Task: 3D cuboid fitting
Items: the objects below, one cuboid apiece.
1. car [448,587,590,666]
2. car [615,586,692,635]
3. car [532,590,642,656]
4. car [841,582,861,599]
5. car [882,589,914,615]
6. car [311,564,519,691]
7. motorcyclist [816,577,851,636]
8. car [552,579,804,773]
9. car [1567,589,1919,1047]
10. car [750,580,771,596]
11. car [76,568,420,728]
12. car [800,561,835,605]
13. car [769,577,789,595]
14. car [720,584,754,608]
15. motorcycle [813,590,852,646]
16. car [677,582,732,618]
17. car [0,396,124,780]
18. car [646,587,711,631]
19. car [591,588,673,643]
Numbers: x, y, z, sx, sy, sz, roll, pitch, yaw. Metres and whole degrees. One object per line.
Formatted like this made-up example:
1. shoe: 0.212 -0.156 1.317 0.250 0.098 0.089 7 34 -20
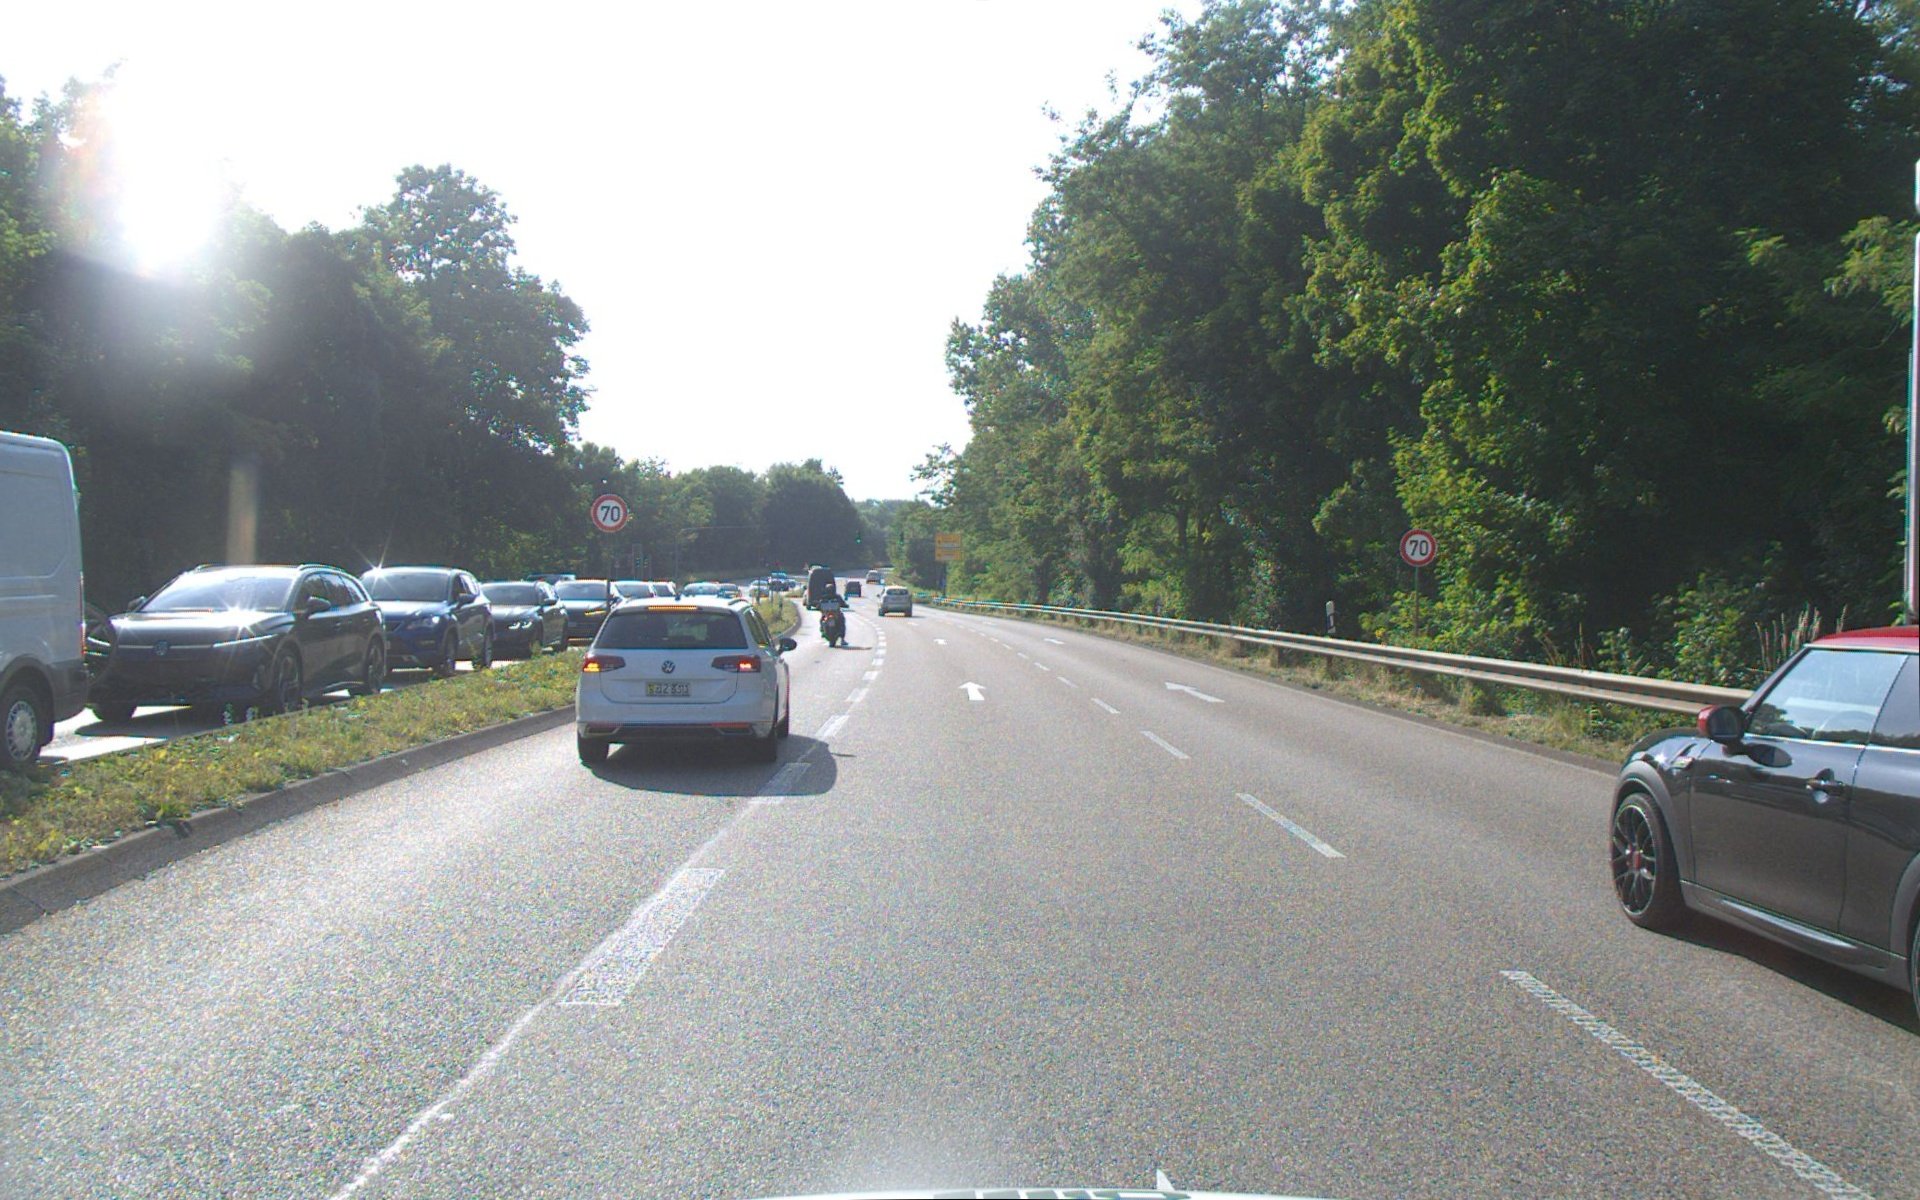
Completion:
1. car: -8.644 0.467 32.809 1.736 1.403 4.841 0 1 -3
2. car: -9.694 0.297 52.717 1.732 1.448 5.190 0 1 -3
3. car: -8.943 0.503 40.083 1.736 1.448 5.190 0 1 -3
4. car: -10.943 -0.936 165.342 1.711 1.564 3.920 2 1 -7
5. car: -3.572 0.088 95.188 1.726 1.404 3.970 2 1 -2
6. car: -8.025 0.336 24.819 1.736 1.698 4.798 0 1 -3
7. motorcyclist: -3.608 0.179 47.160 0.866 1.644 1.290 2 0 -1
8. car: -2.584 0.613 16.259 1.833 1.548 4.831 2 1 -3
9. car: 4.057 0.750 6.533 1.783 1.493 3.872 2 1 -1
10. car: -18.595 -1.128 154.098 1.753 1.436 4.222 2 1 -6
11. car: -7.495 0.405 18.043 1.725 1.482 5.183 0 1 -3
12. car: -9.917 -1.186 115.369 2.166 2.939 7.007 0 1 -3
13. car: -19.217 -1.507 175.478 2.036 1.794 4.751 -1 1 -6
14. car: -16.868 -0.296 125.242 2.061 1.738 6.222 0 1 -3
15. motorcycle: -3.636 0.488 47.232 0.890 1.478 2.688 -2 1 -1
16. car: -10.633 -0.012 69.072 1.830 1.442 4.413 0 1 -3
17. car: -7.398 -0.059 9.779 2.033 2.578 6.160 0 1 -3
18. car: -9.993 0.288 58.960 1.732 1.442 4.432 0 1 -3
19. car: -9.280 0.398 47.071 1.673 1.448 4.209 0 1 -3
